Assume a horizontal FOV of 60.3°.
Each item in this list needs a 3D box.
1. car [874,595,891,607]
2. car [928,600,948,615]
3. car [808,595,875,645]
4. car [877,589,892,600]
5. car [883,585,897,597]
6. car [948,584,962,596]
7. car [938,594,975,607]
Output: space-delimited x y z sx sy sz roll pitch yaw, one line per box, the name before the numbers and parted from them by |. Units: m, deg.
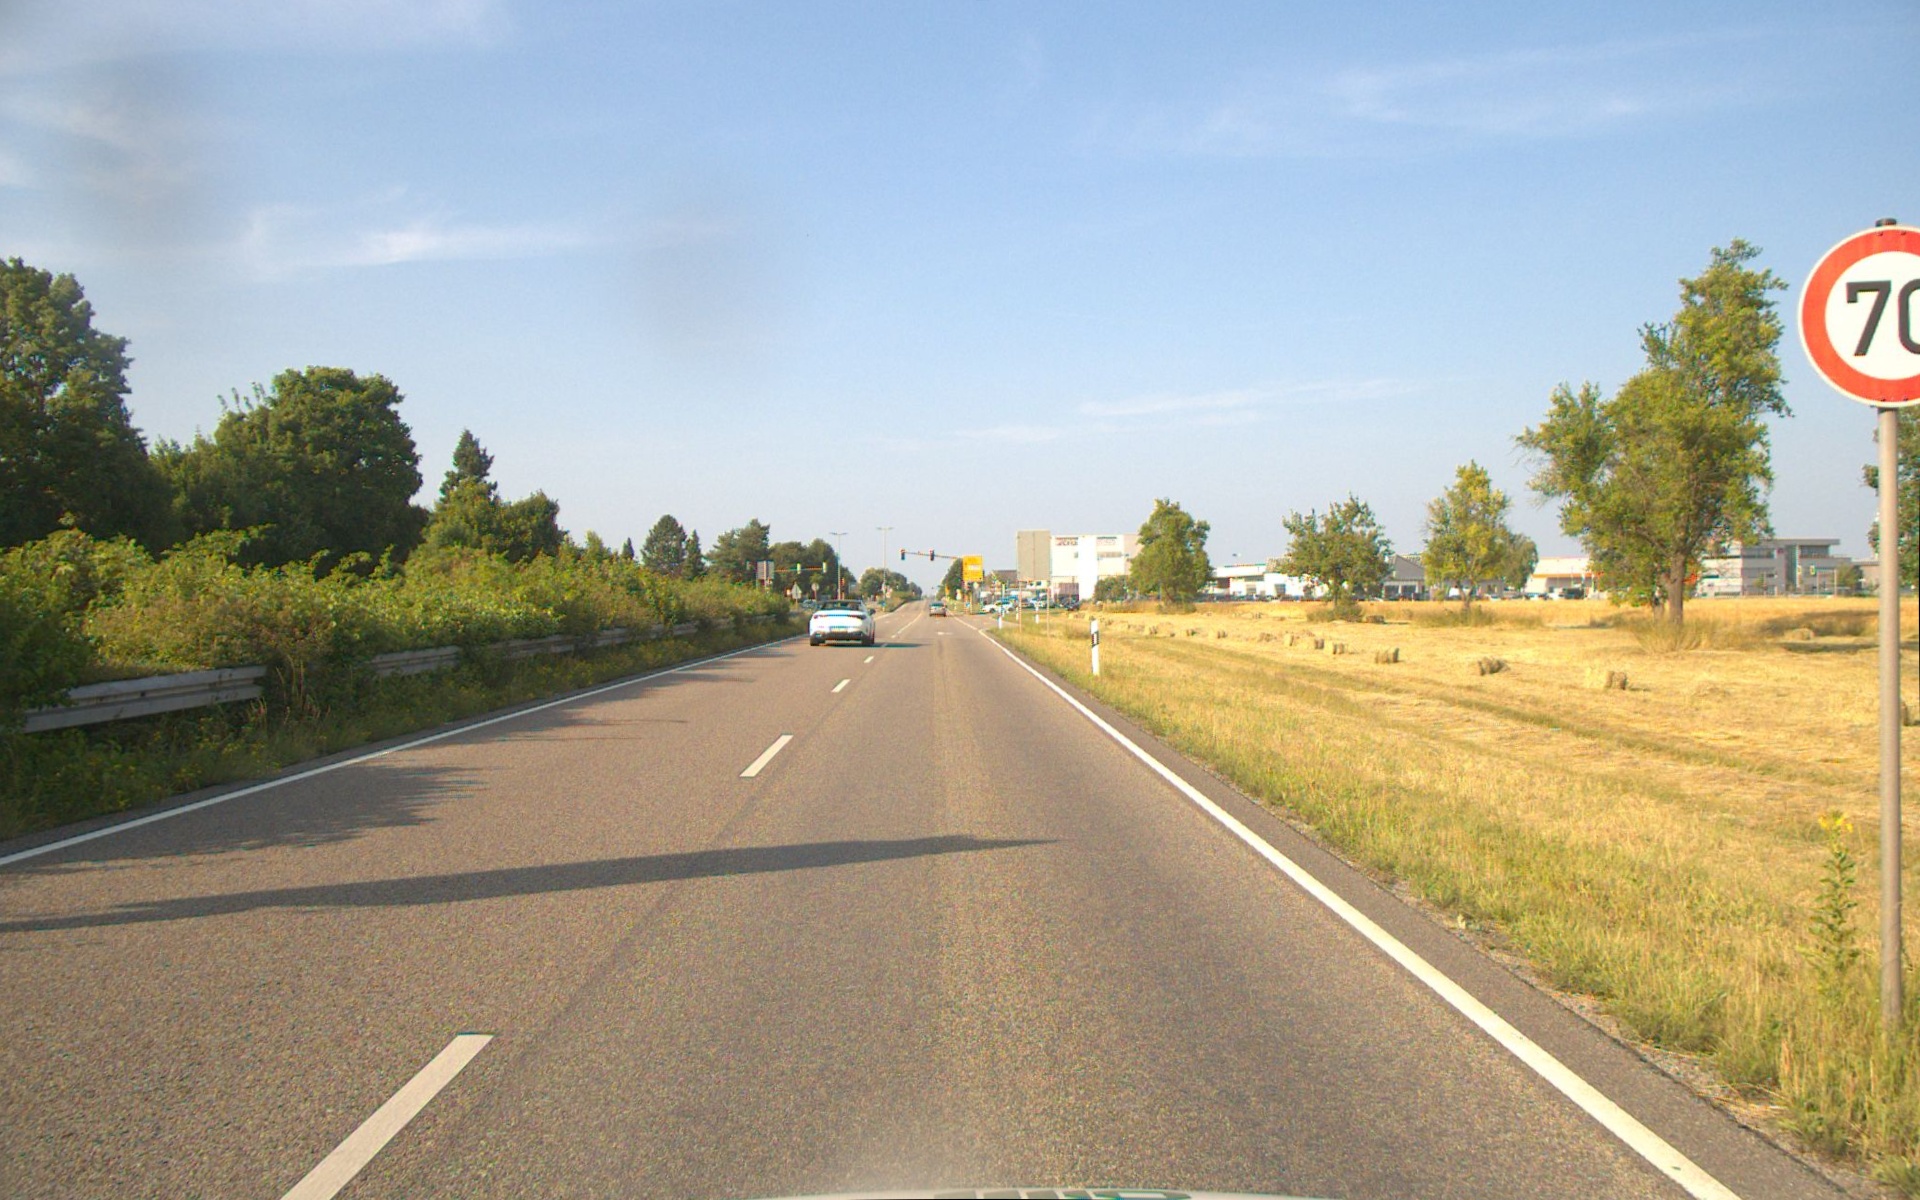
car | -9.585 0.092 205.319 1.908 1.432 4.000 1 0 0
car | -2.244 0.743 169.021 1.953 1.512 3.999 0 0 -2
car | -3.580 0.593 50.547 1.871 1.447 3.999 0 0 -2
car | -10.459 -0.738 230.170 1.908 1.432 4.000 1 0 0
car | -10.315 -1.358 244.141 1.908 1.803 4.000 1 0 0
car | -0.711 -1.507 243.985 1.952 1.787 4.000 1 0 0
car | -0.463 0.090 194.348 3.929 1.432 1.942 0 0 -21
